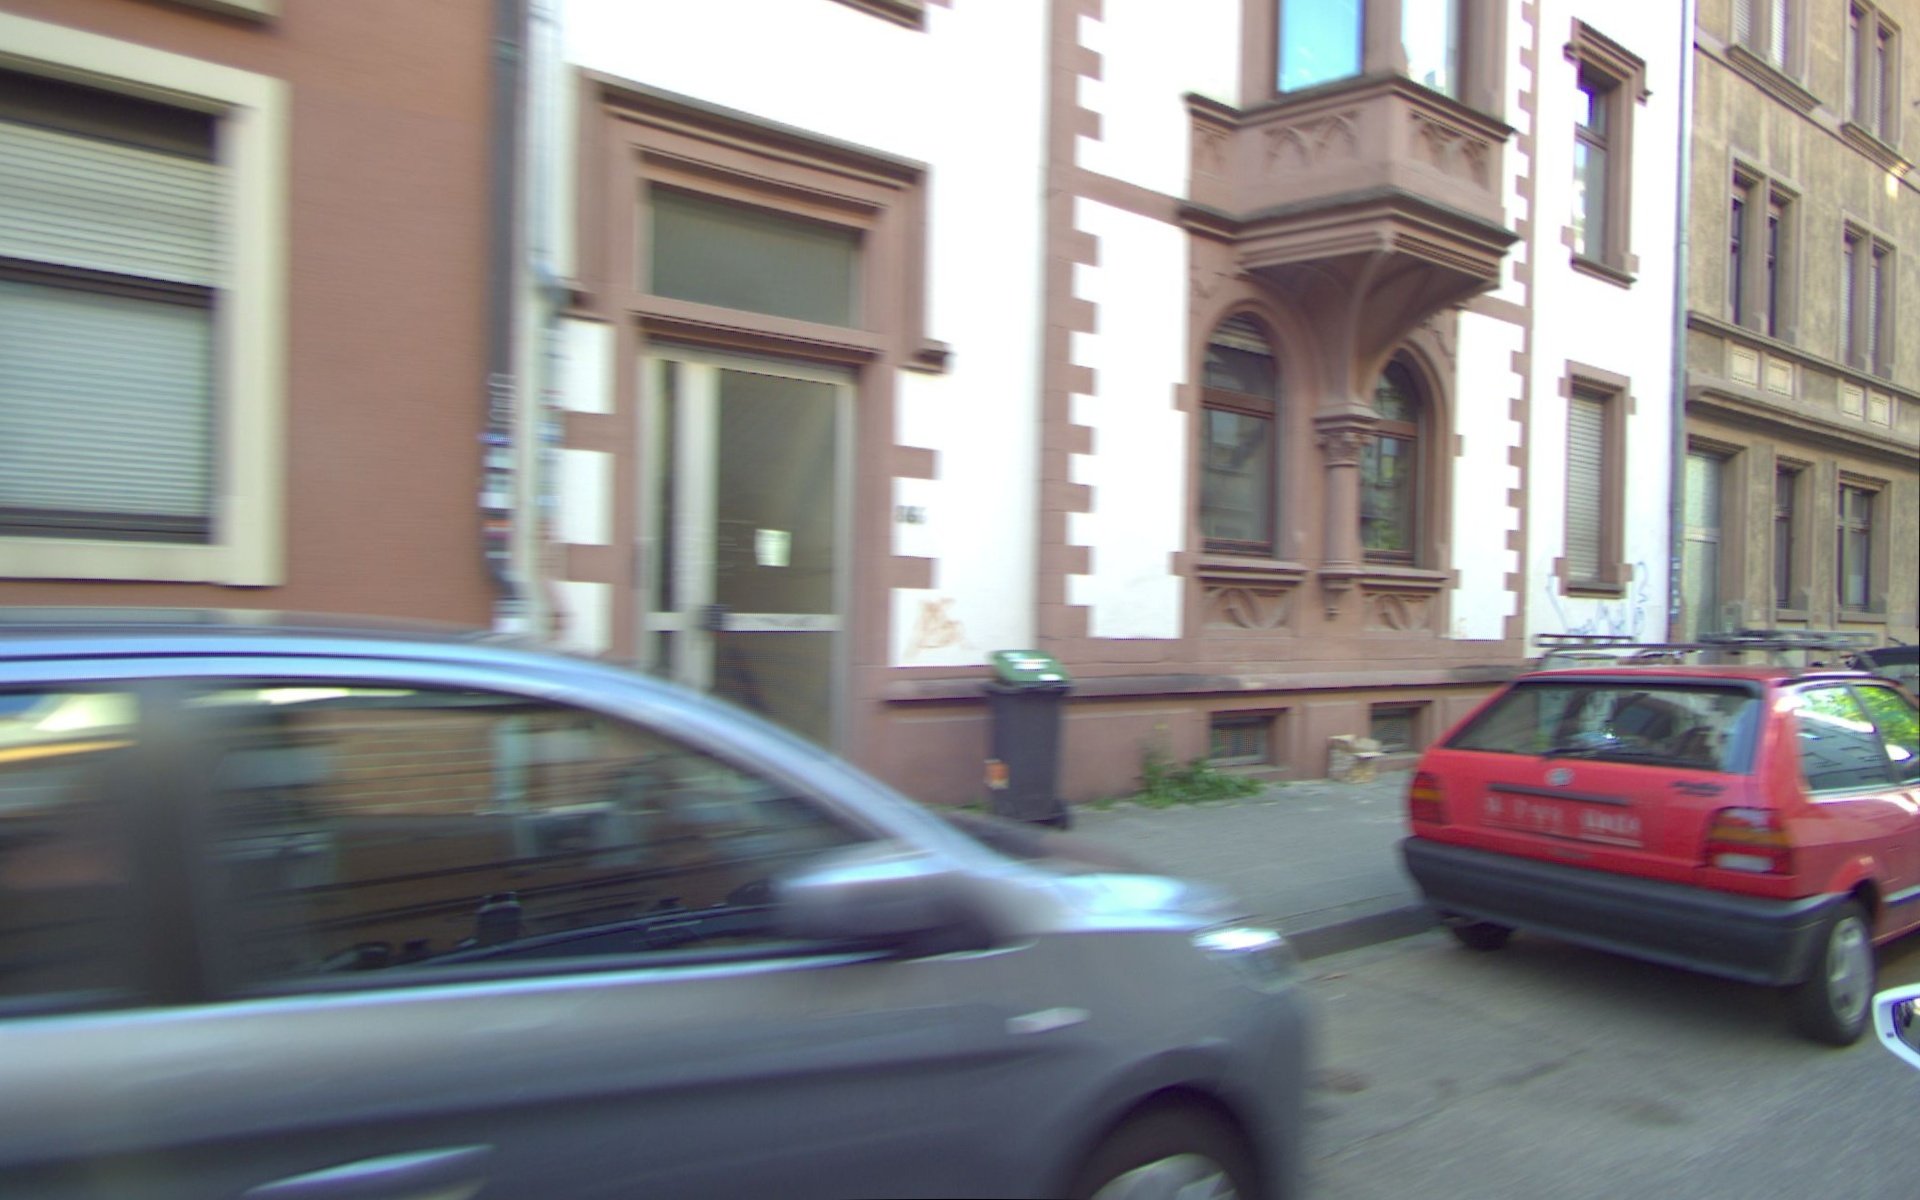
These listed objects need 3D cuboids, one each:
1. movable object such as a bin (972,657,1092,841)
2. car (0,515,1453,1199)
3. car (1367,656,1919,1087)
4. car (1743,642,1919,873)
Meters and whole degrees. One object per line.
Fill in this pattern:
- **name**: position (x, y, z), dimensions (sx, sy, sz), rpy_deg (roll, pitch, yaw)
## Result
- **movable object such as a bin**: position (0.436, 0.897, 6.230), dimensions (0.550, 1.040, 0.550), rpy_deg (1, 1, -18)
- **car**: position (-0.998, 0.712, 1.964), dimensions (3.874, 1.493, 1.686), rpy_deg (1, -3, -31)
- **car**: position (3.808, 0.958, 4.860), dimensions (3.572, 1.344, 1.610), rpy_deg (2, -4, -32)
- **car**: position (7.637, 1.023, 7.198), dimensions (3.848, 1.430, 1.713), rpy_deg (1, -5, -28)
